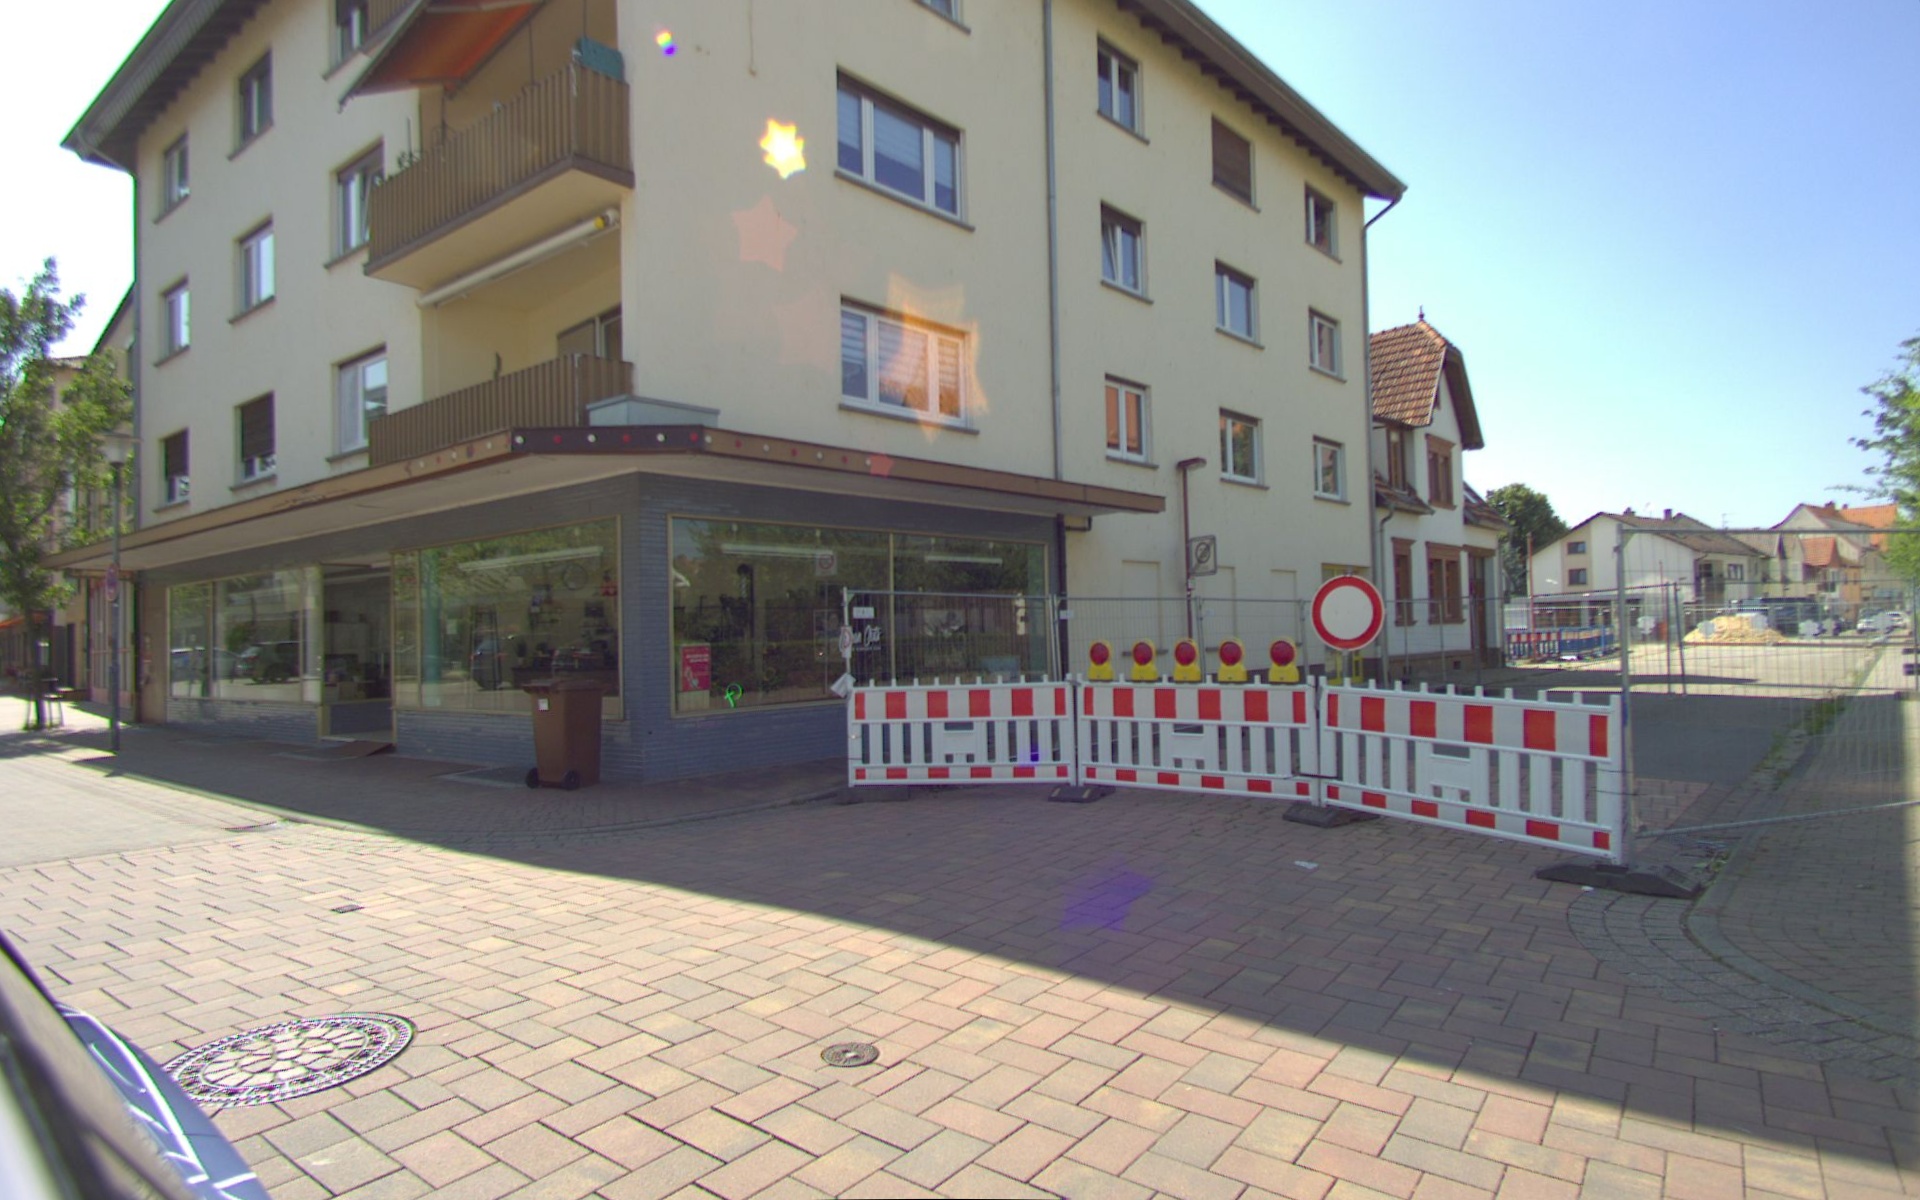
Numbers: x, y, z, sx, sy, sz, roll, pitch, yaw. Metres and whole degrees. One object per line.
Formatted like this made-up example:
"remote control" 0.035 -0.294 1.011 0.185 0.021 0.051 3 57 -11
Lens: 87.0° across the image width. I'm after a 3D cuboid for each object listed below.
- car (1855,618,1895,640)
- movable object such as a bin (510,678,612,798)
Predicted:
"car" 64.967 2.070 71.877 1.812 1.475 3.893 -3 -3 39
"movable object such as a bin" -3.911 1.325 9.936 0.661 1.078 0.650 -3 -2 31
